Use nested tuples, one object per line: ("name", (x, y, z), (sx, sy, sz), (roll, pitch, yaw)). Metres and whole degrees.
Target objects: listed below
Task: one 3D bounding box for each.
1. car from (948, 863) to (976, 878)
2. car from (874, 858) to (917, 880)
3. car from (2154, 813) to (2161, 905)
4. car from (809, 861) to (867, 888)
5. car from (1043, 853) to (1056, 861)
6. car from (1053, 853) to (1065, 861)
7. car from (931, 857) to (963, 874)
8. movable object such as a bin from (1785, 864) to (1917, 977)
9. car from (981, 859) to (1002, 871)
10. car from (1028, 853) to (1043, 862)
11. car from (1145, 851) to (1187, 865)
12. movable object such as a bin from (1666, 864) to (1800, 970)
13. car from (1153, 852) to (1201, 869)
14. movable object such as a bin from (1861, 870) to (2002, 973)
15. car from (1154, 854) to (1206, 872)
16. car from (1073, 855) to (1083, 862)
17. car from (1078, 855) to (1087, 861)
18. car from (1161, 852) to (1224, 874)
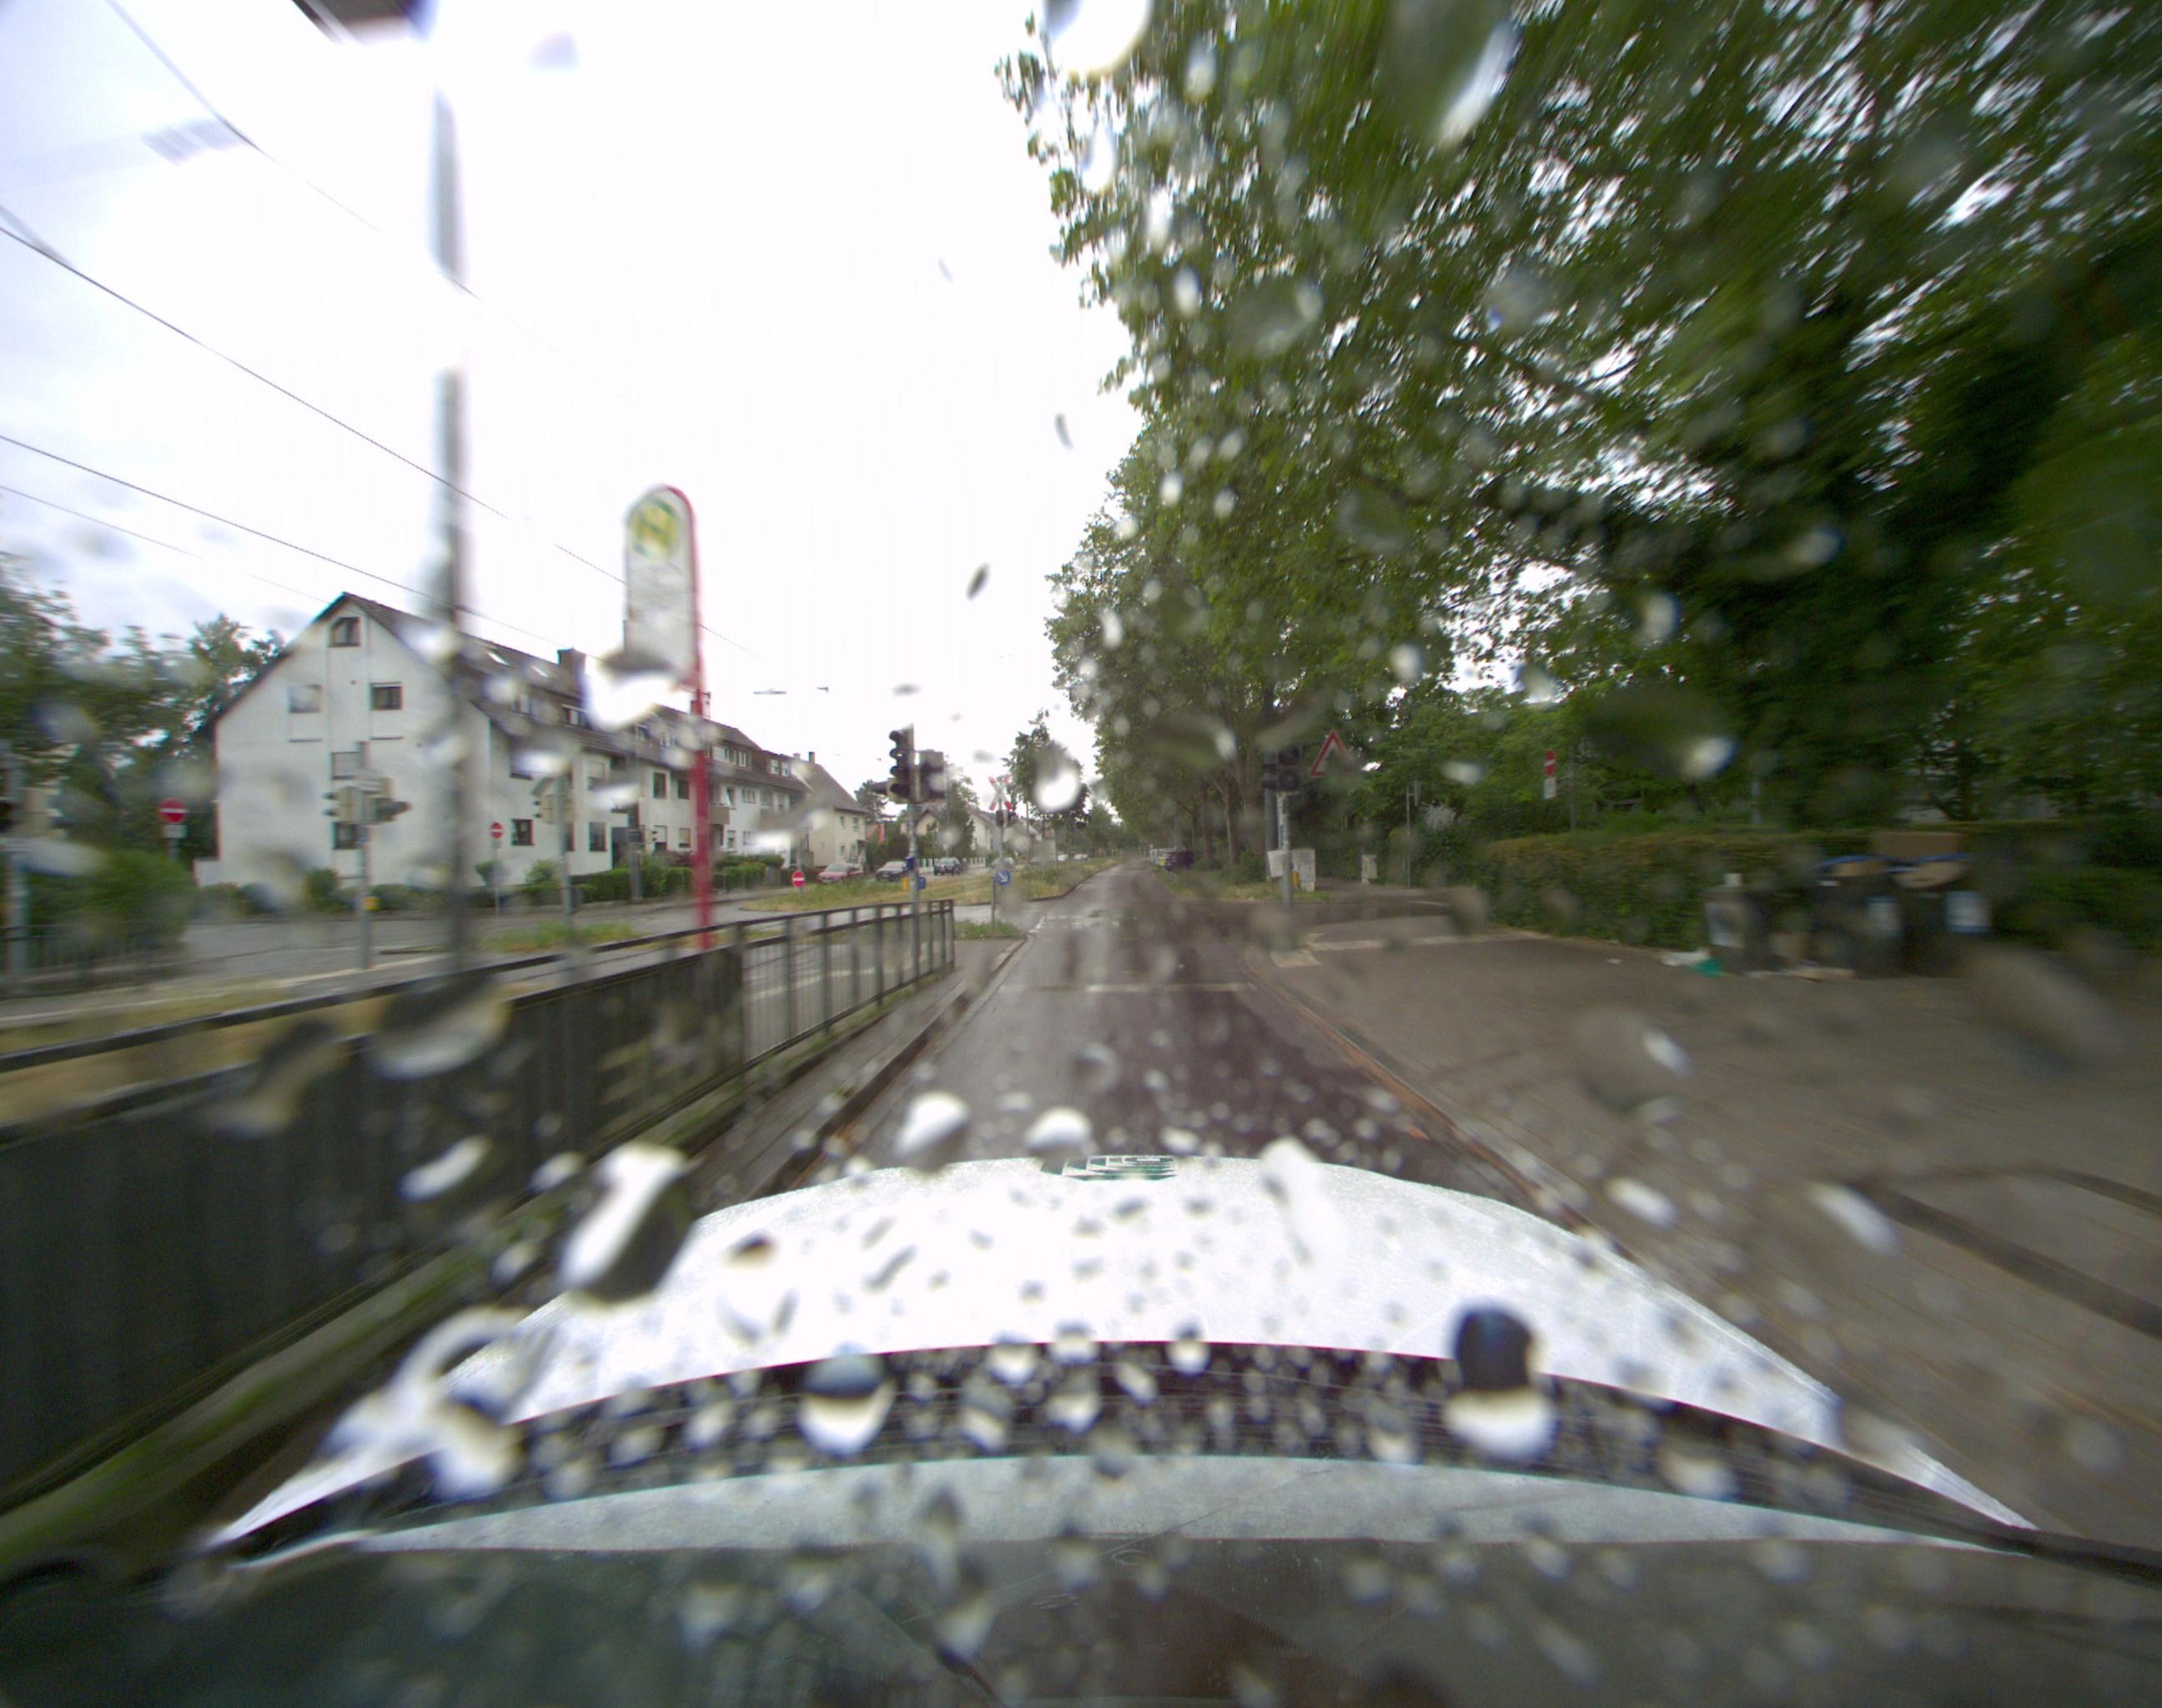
("car", (-12.026, 1.641, 82.392), (1.919, 1.486, 4.005), (-1, -1, 5))
("car", (-13.301, 1.078, 58.657), (1.919, 1.486, 4.005), (-1, -1, 5))
("car", (18.991, 0.061, 11.729), (1.750, 1.540, 3.996), (-1, -1, -3))
("car", (-14.158, 1.171, 47.715), (1.919, 1.486, 4.005), (-1, -1, 5))
("car", (-6.135, 0.620, 158.915), (1.919, 1.486, 4.005), (-1, -1, 5))
("car", (-4.590, 0.662, 171.012), (1.919, 1.486, 4.005), (-1, -1, 5))
("car", (-12.383, 1.032, 75.481), (1.919, 1.486, 4.005), (-1, -1, 5))
("movable object such as a bin", (7.532, 0.630, 7.998), (0.534, 1.022, 0.739), (-4, -1, 1))
("car", (-11.212, 1.355, 102.343), (1.919, 1.486, 4.005), (-1, -1, 5))
("car", (-7.655, 0.669, 136.830), (1.919, 1.486, 4.005), (-1, -1, 5))
("car", (8.968, 0.401, 85.980), (3.991, 1.453, 1.991), (0, -1, -13))
("movable object such as a bin", (6.860, 0.638, 8.610), (0.690, 1.022, 0.824), (-4, -1, 1))
("car", (8.900, 0.610, 75.866), (3.991, 1.453, 1.991), (0, -1, -13))
("movable object such as a bin", (8.155, 0.629, 7.842), (0.534, 0.899, 0.739), (-4, 0, 1))
("car", (8.476, 0.772, 70.014), (3.991, 1.453, 1.991), (0, -1, -13))
("car", (-0.731, 1.102, 200.971), (1.919, 1.486, 4.005), (-1, -1, 5))
("car", (0.454, 1.116, 214.884), (1.919, 1.486, 4.005), (-1, -1, 5))
("car", (7.902, 0.639, 57.808), (3.991, 1.453, 1.991), (0, -1, -13))
